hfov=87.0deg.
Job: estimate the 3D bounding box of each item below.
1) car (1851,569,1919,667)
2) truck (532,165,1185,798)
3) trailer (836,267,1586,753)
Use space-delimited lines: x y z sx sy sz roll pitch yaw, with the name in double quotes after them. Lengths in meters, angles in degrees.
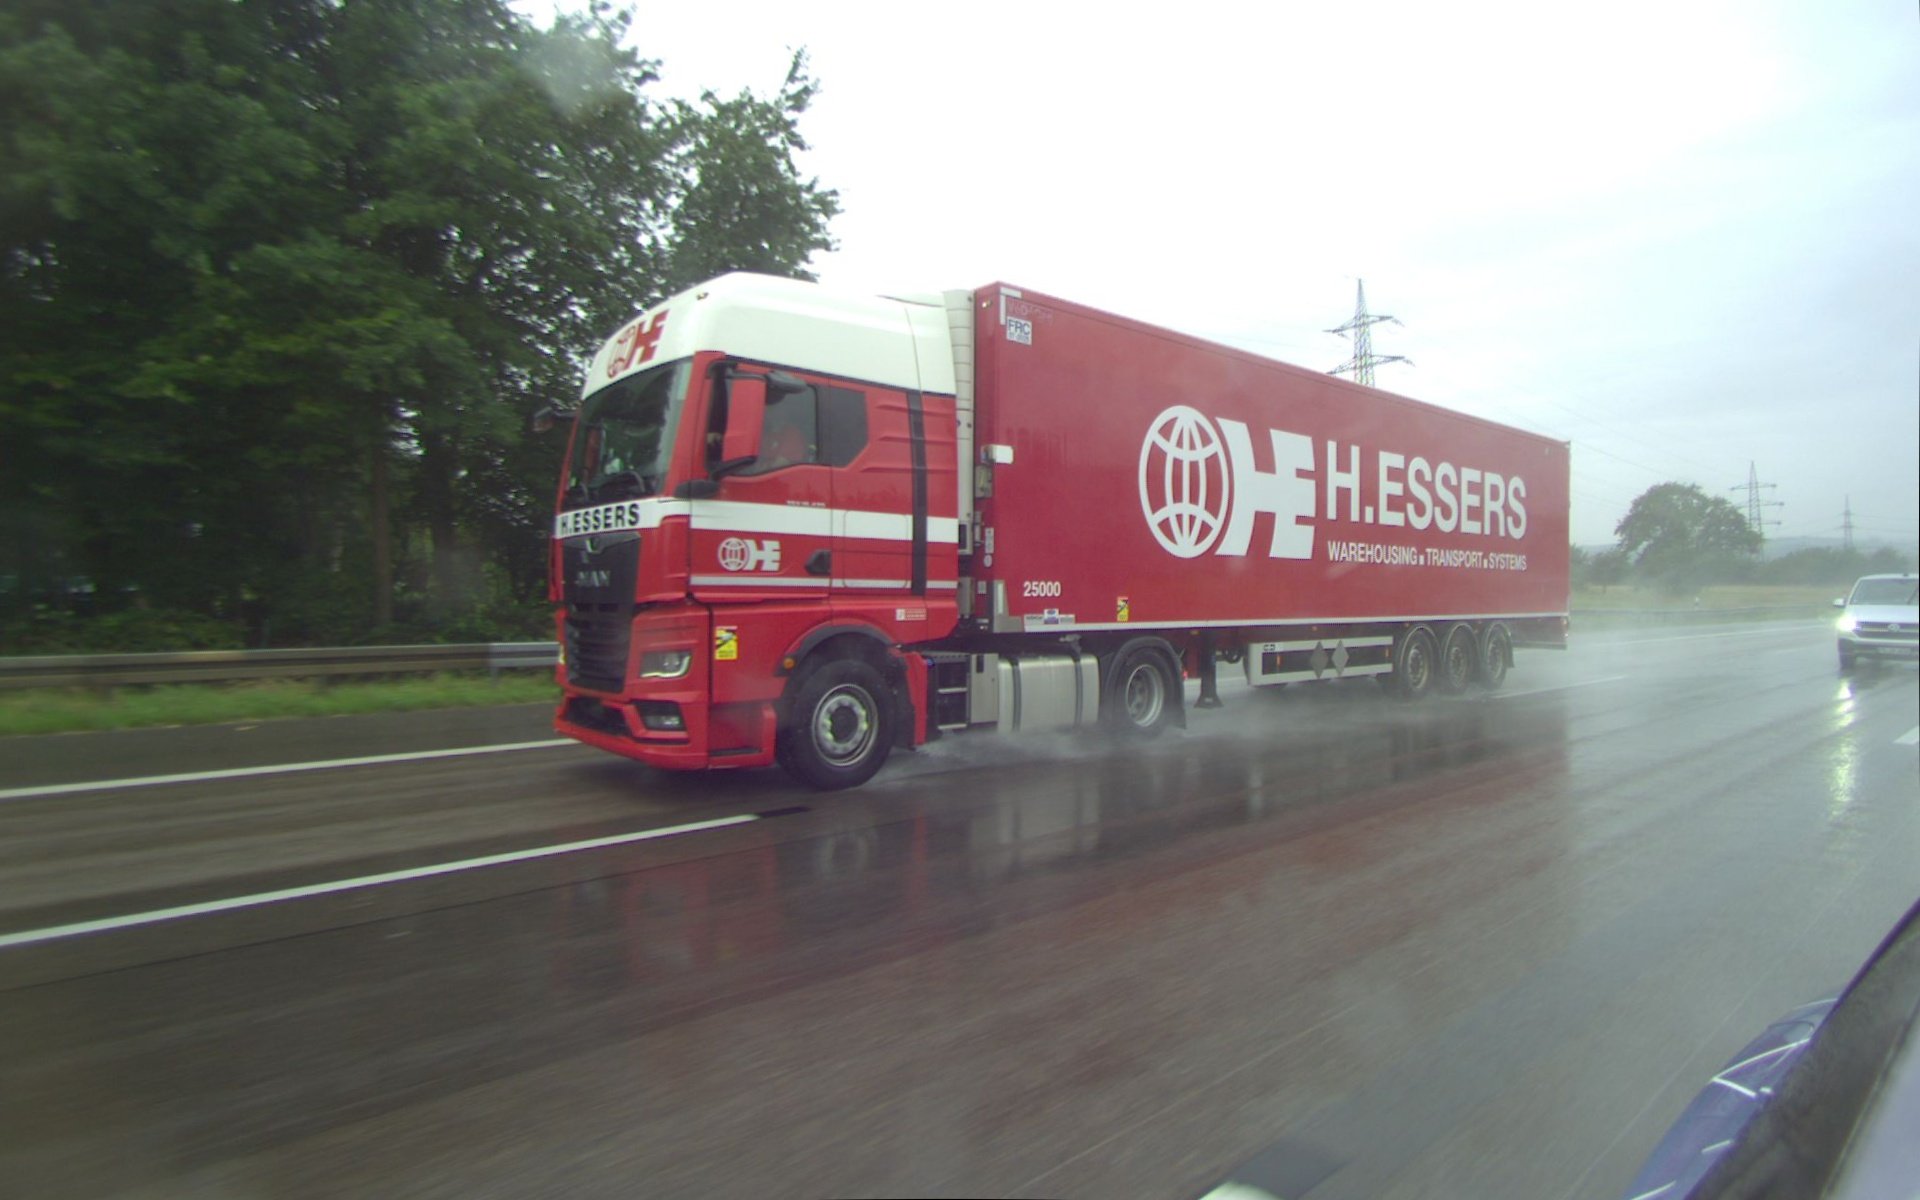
20.531 0.342 21.314 4.920 1.908 1.890 0 -3 -40 "car"
-0.692 -0.783 9.138 5.336 4.005 2.625 0 0 -40 "truck"
4.646 -0.814 13.714 13.391 4.005 2.625 -1 0 -41 "trailer"
